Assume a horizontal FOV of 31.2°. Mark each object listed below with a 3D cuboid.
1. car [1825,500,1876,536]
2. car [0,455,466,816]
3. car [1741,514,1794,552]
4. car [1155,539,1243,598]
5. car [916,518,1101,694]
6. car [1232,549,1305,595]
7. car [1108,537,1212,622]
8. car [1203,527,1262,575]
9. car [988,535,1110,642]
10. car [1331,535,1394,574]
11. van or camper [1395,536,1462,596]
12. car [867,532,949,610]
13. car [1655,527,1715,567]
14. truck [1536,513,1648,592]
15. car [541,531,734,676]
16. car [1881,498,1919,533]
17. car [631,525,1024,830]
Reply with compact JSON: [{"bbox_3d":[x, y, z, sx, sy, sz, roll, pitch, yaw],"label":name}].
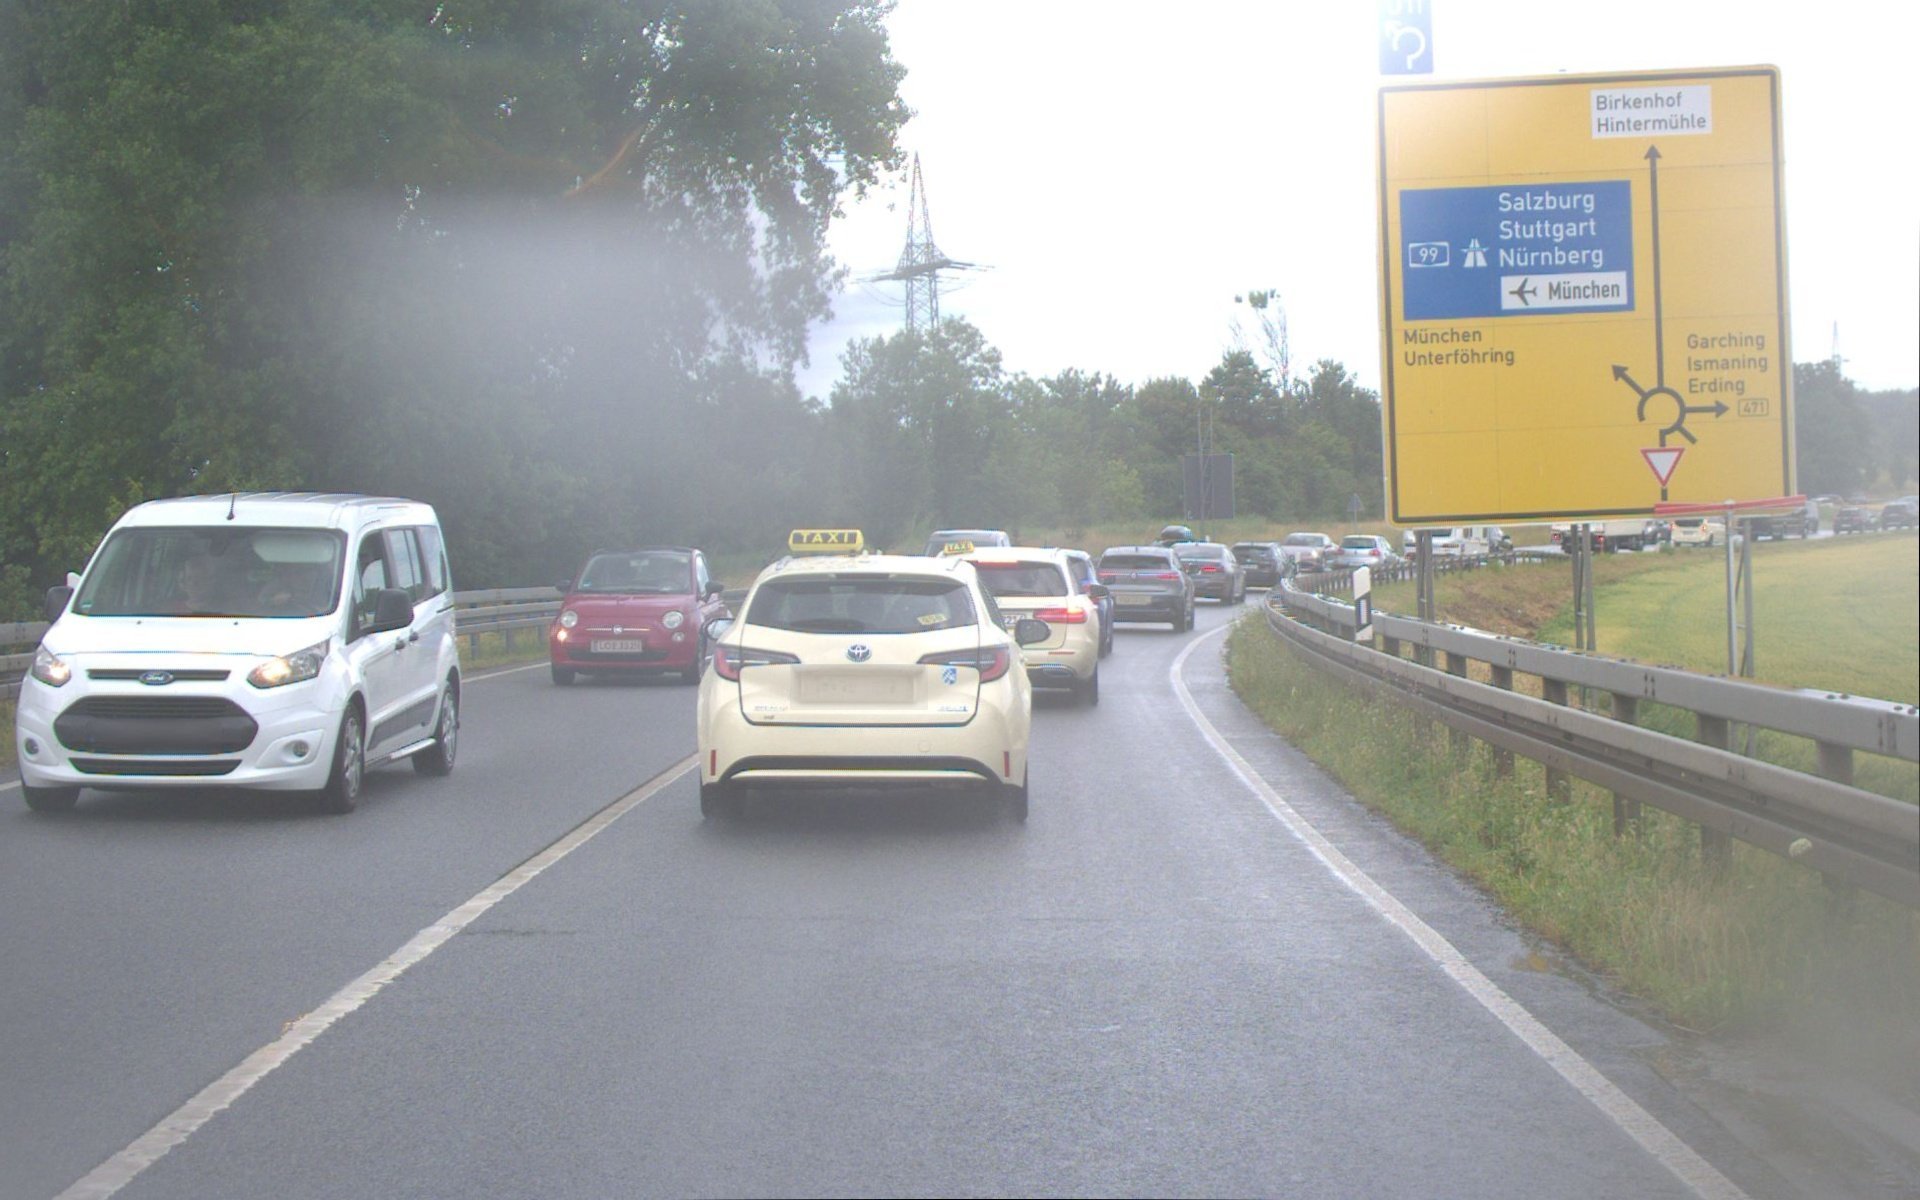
[{"bbox_3d":[51.957,-4.768,200.565,2.228,2.007,3.995,1,0,24],"label":"car"},{"bbox_3d":[-4.191,0.134,20.236,1.861,1.885,4.490,0,1,1],"label":"car"},{"bbox_3d":[43.907,-3.631,186.858,1.996,2.007,3.995,1,0,25],"label":"car"},{"bbox_3d":[5.883,-0.762,84.304,1.661,1.404,3.902,0,0,12],"label":"car"},{"bbox_3d":[0.506,0.035,32.557,1.578,1.567,3.681,0,1,4],"label":"car"},{"bbox_3d":[8.856,-0.813,98.533,1.483,1.304,3.474,0,1,15],"label":"car"},{"bbox_3d":[3.572,-0.369,60.885,1.665,1.459,3.476,0,1,6],"label":"car"},{"bbox_3d":[9.958,-1.783,125.386,1.518,1.715,3.418,1,0,15],"label":"car"},{"bbox_3d":[1.212,-0.174,47.998,1.505,1.432,3.356,0,1,-2],"label":"car"},{"bbox_3d":[13.742,-1.555,117.178,1.484,1.304,3.474,0,1,18],"label":"car"},{"bbox_3d":[17.962,-1.281,131.700,1.995,2.246,3.997,1,0,16],"label":"van or camper"},{"bbox_3d":[-1.137,-0.640,76.420,1.520,1.667,3.806,0,0,4],"label":"car"},{"bbox_3d":[37.219,-2.723,176.522,2.169,2.007,3.995,1,0,25],"label":"car"},{"bbox_3d":[29.370,-2.154,159.496,3.144,3.550,7.510,1,0,27],"label":"truck"},{"bbox_3d":[-3.513,-0.002,38.072,1.610,1.481,4.000,0,2,2],"label":"car"},{"bbox_3d":[57.300,-5.122,208.906,1.996,2.007,3.995,-1,0,24],"label":"car"},{"bbox_3d":[-0.632,0.368,19.442,1.906,1.532,4.161,0,1,2],"label":"car"}]
